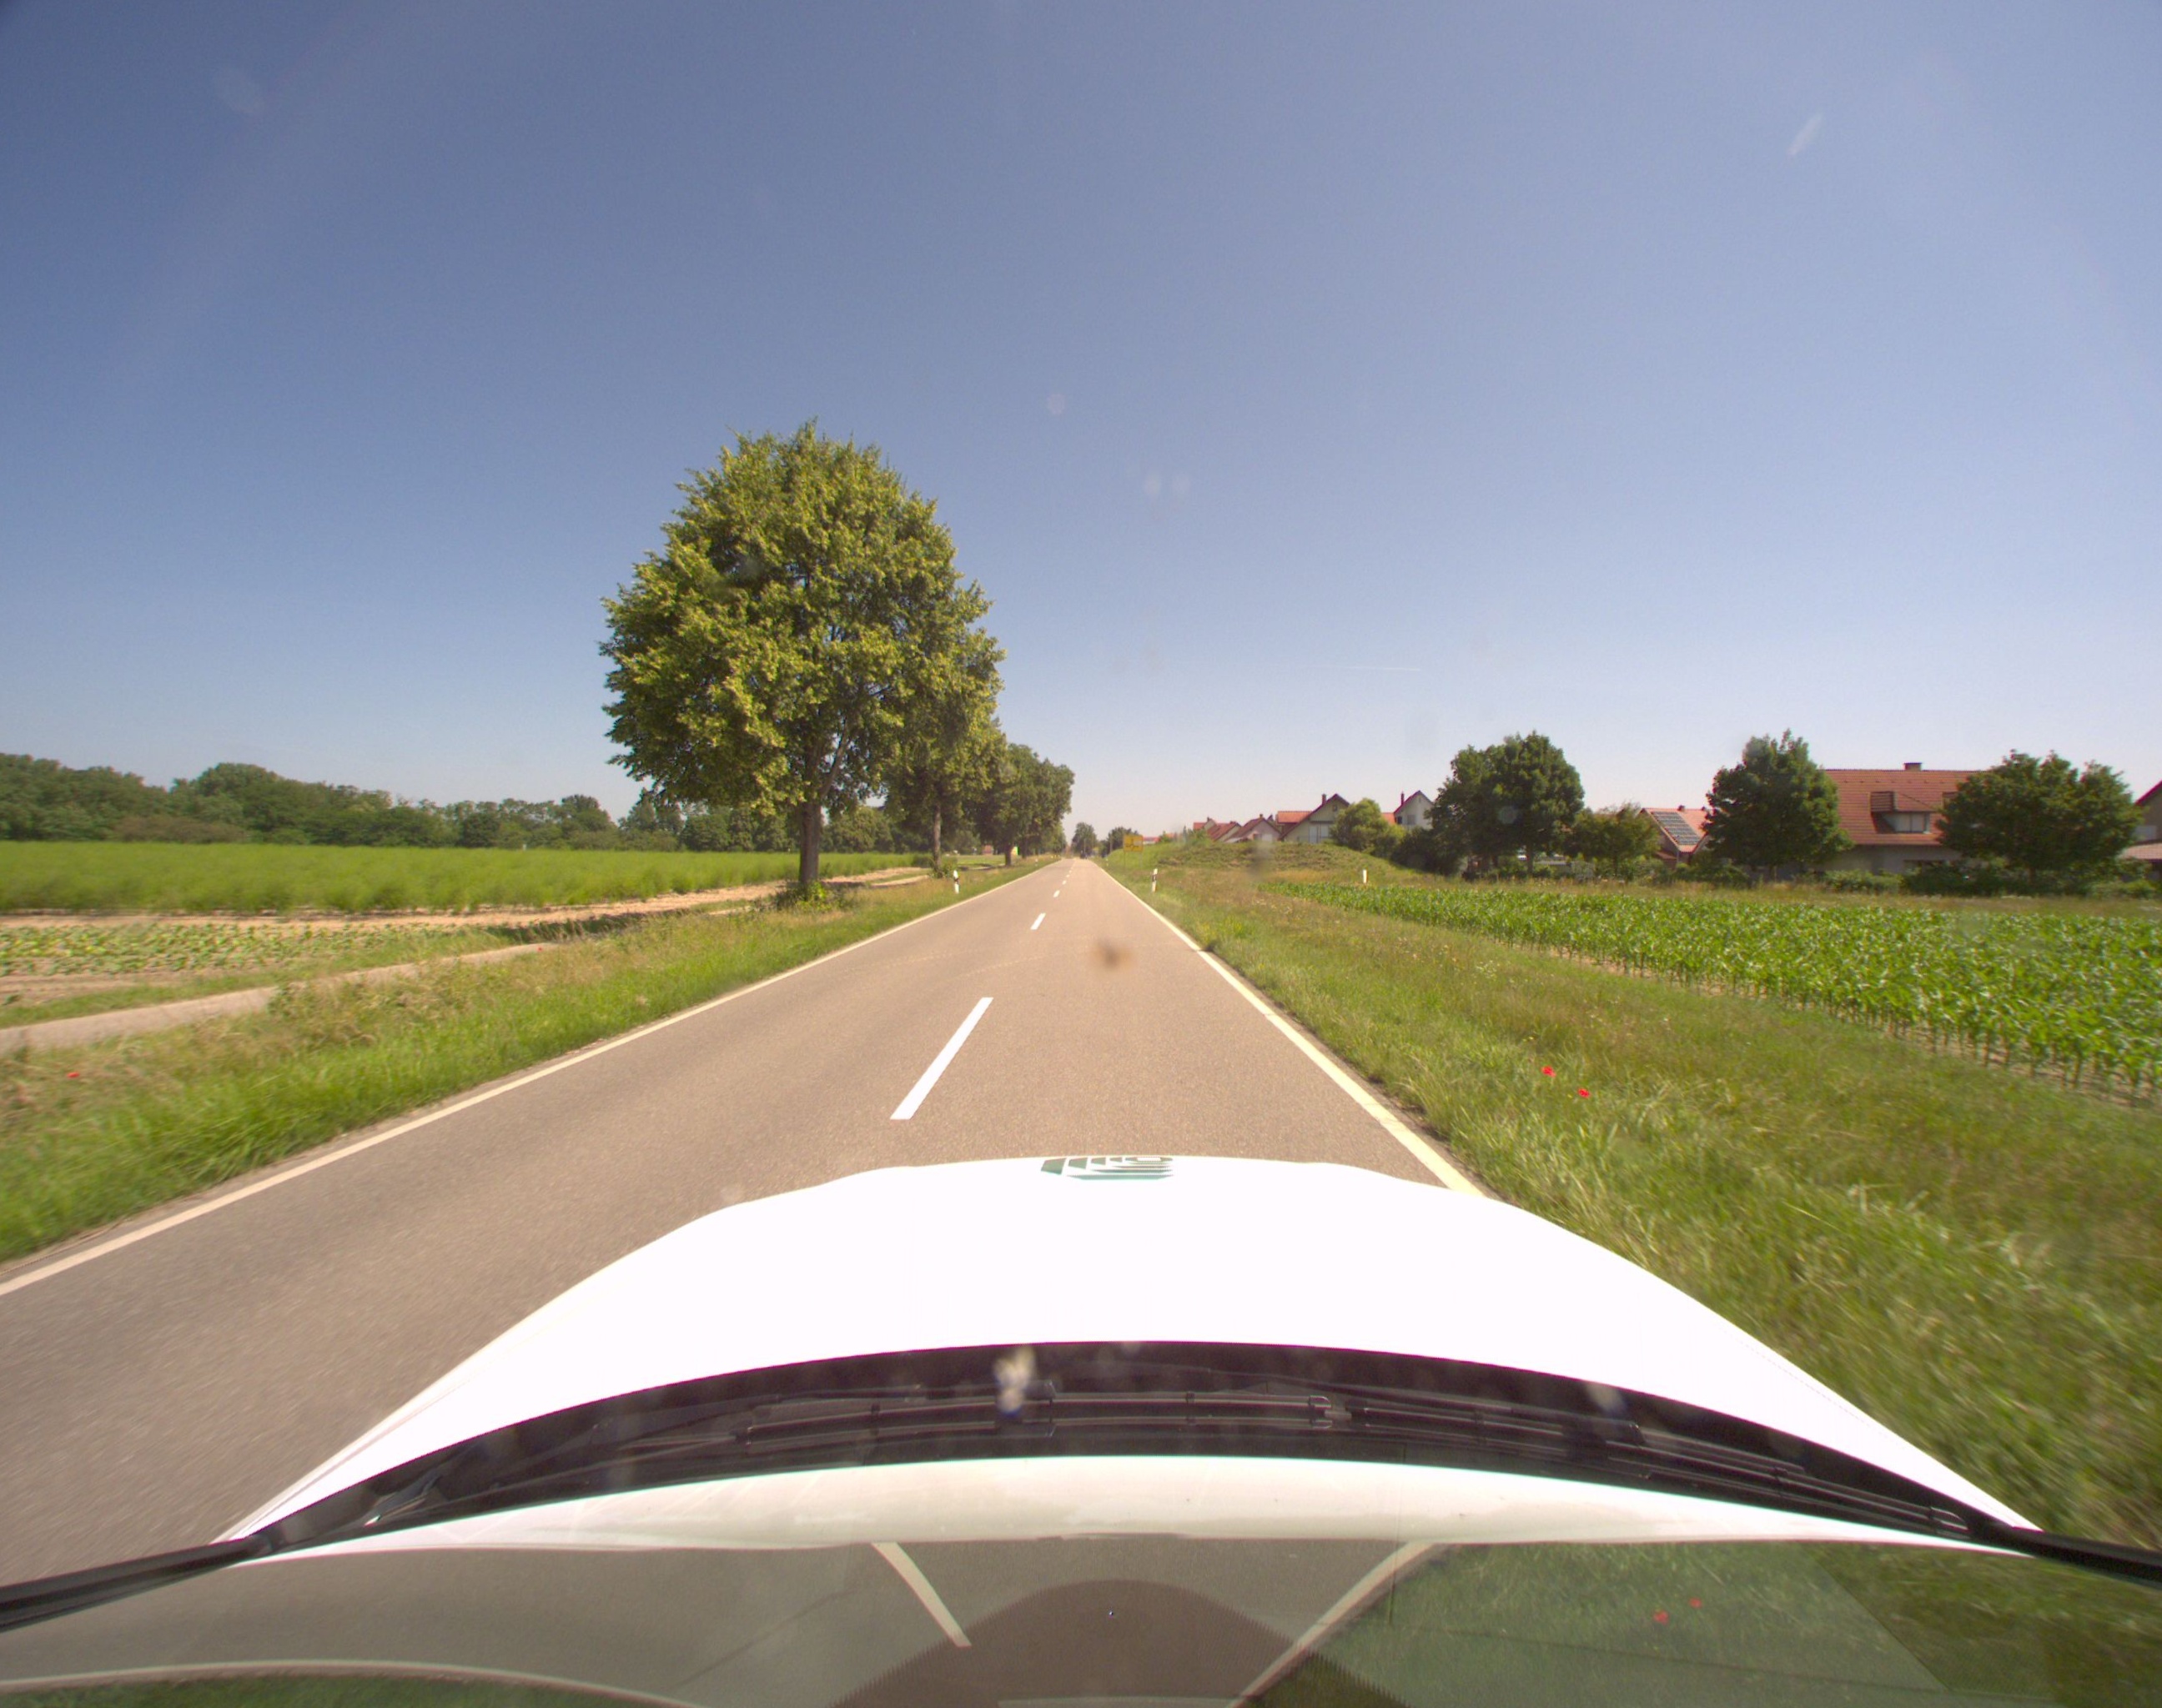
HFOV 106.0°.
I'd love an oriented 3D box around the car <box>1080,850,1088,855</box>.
[{"bbox_3d":[0.810,-0.381,219.359,1.829,1.536,3.616,0,0,6],"label":"car"}]
